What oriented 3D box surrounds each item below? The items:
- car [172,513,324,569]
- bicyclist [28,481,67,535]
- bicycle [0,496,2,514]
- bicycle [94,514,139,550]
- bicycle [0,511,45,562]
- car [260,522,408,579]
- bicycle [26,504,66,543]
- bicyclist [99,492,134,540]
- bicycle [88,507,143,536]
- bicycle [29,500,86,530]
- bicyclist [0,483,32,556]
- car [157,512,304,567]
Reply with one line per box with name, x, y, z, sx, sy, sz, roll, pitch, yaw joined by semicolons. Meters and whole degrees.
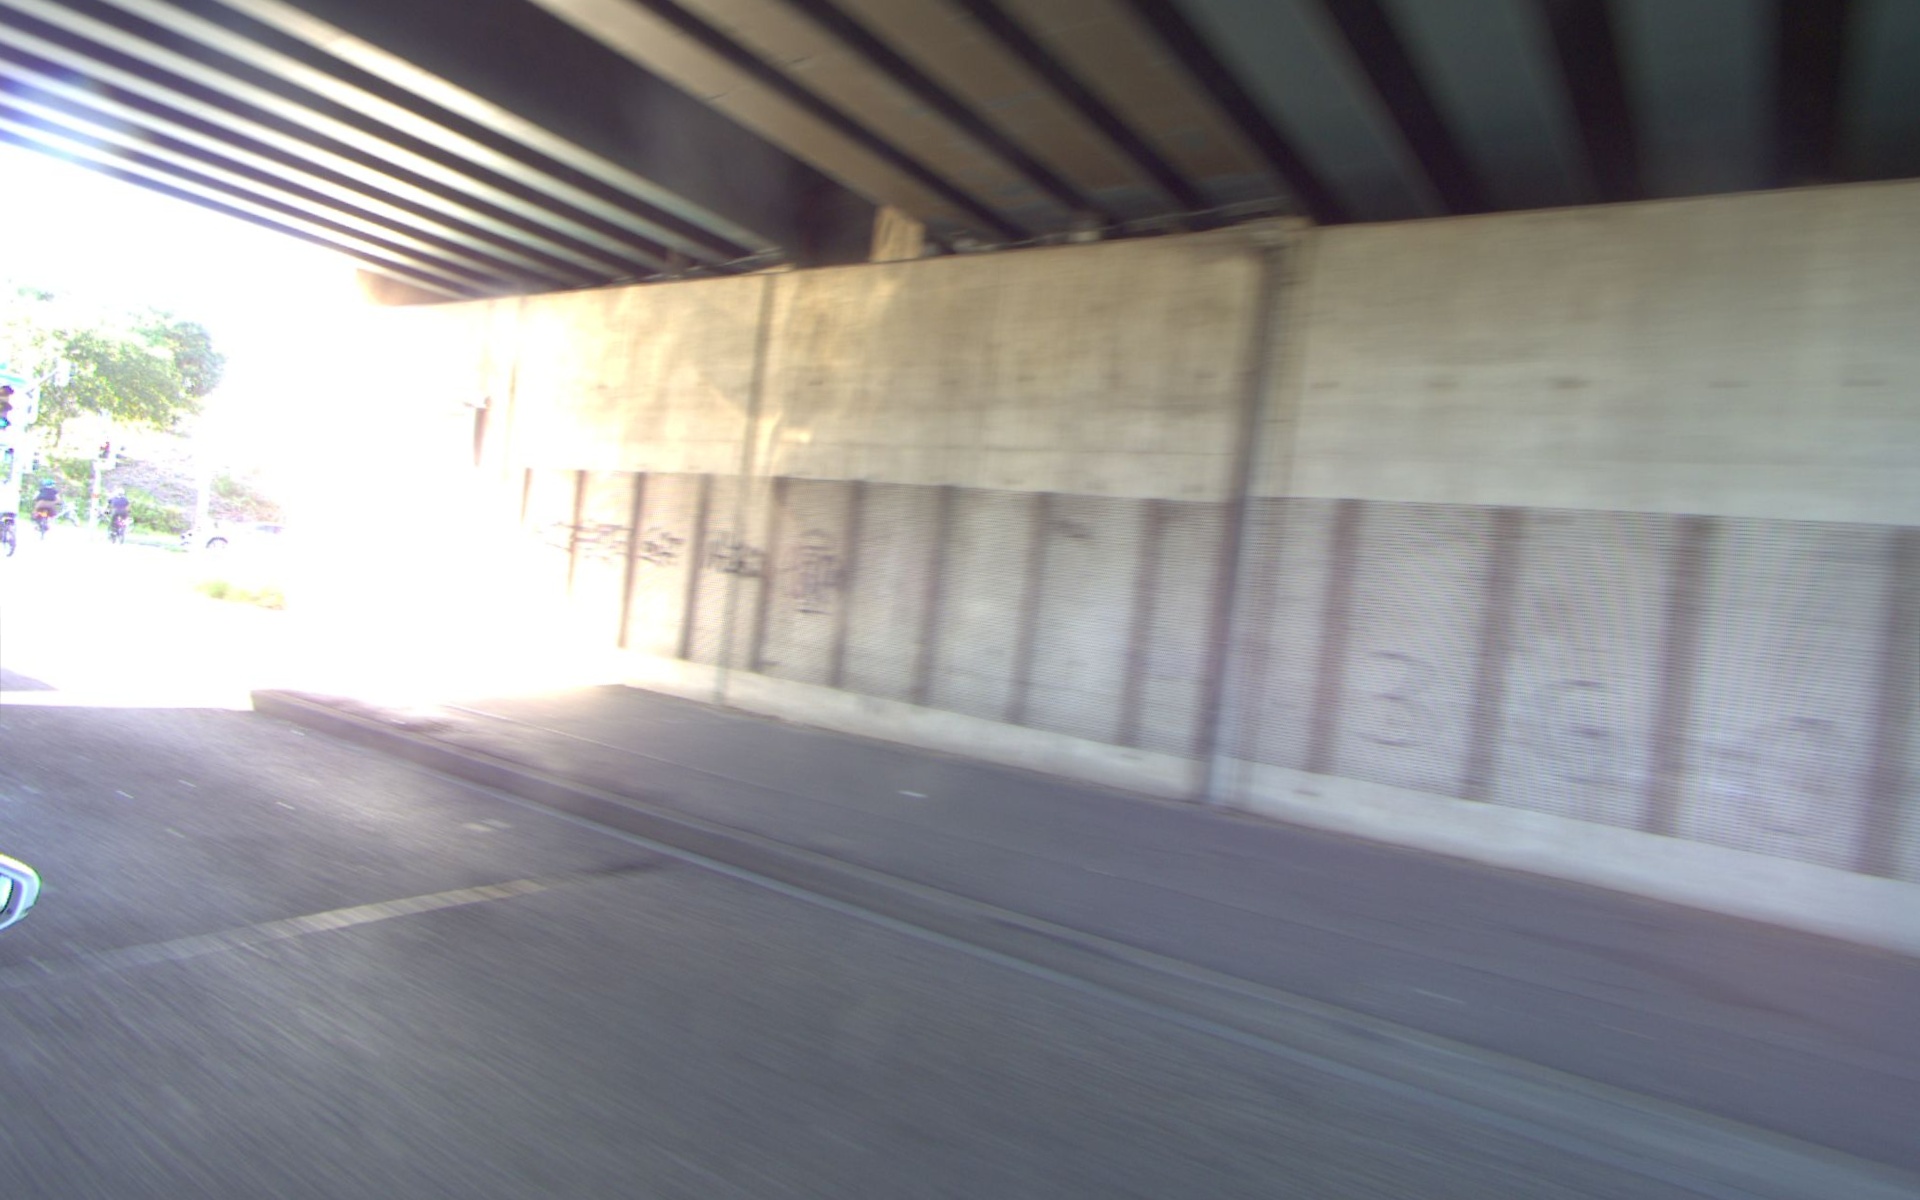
car;-28.384;-2.328;40.241;1.801;1.531;4.548;5;-3;38
bicyclist;-27.264;-2.743;30.057;0.741;1.491;0.664;5;-2;43
bicycle;-42.393;-4.114;43.169;0.585;1.035;1.744;5;-2;40
bicycle;-28.877;-2.343;34.429;1.722;1.035;0.668;7;-1;34
bicycle;-21.638;-1.485;22.777;1.718;1.035;0.594;6;-1;22
car;-24.721;-1.918;39.852;1.801;1.531;4.548;5;-3;38
bicycle;-27.329;-2.276;30.065;2.029;1.035;0.670;5;-2;44
bicyclist;-28.918;-2.877;34.487;0.608;1.499;0.650;7;0;35
bicycle;-38.266;-3.555;45.600;0.586;1.035;1.742;5;-2;42
bicycle;-39.916;-3.762;44.491;0.585;1.035;1.744;5;-2;40
bicyclist;-21.741;-1.835;22.836;0.755;1.566;0.594;6;-1;22
car;-30.324;-2.486;41.958;1.801;1.531;4.548;5;-3;38
